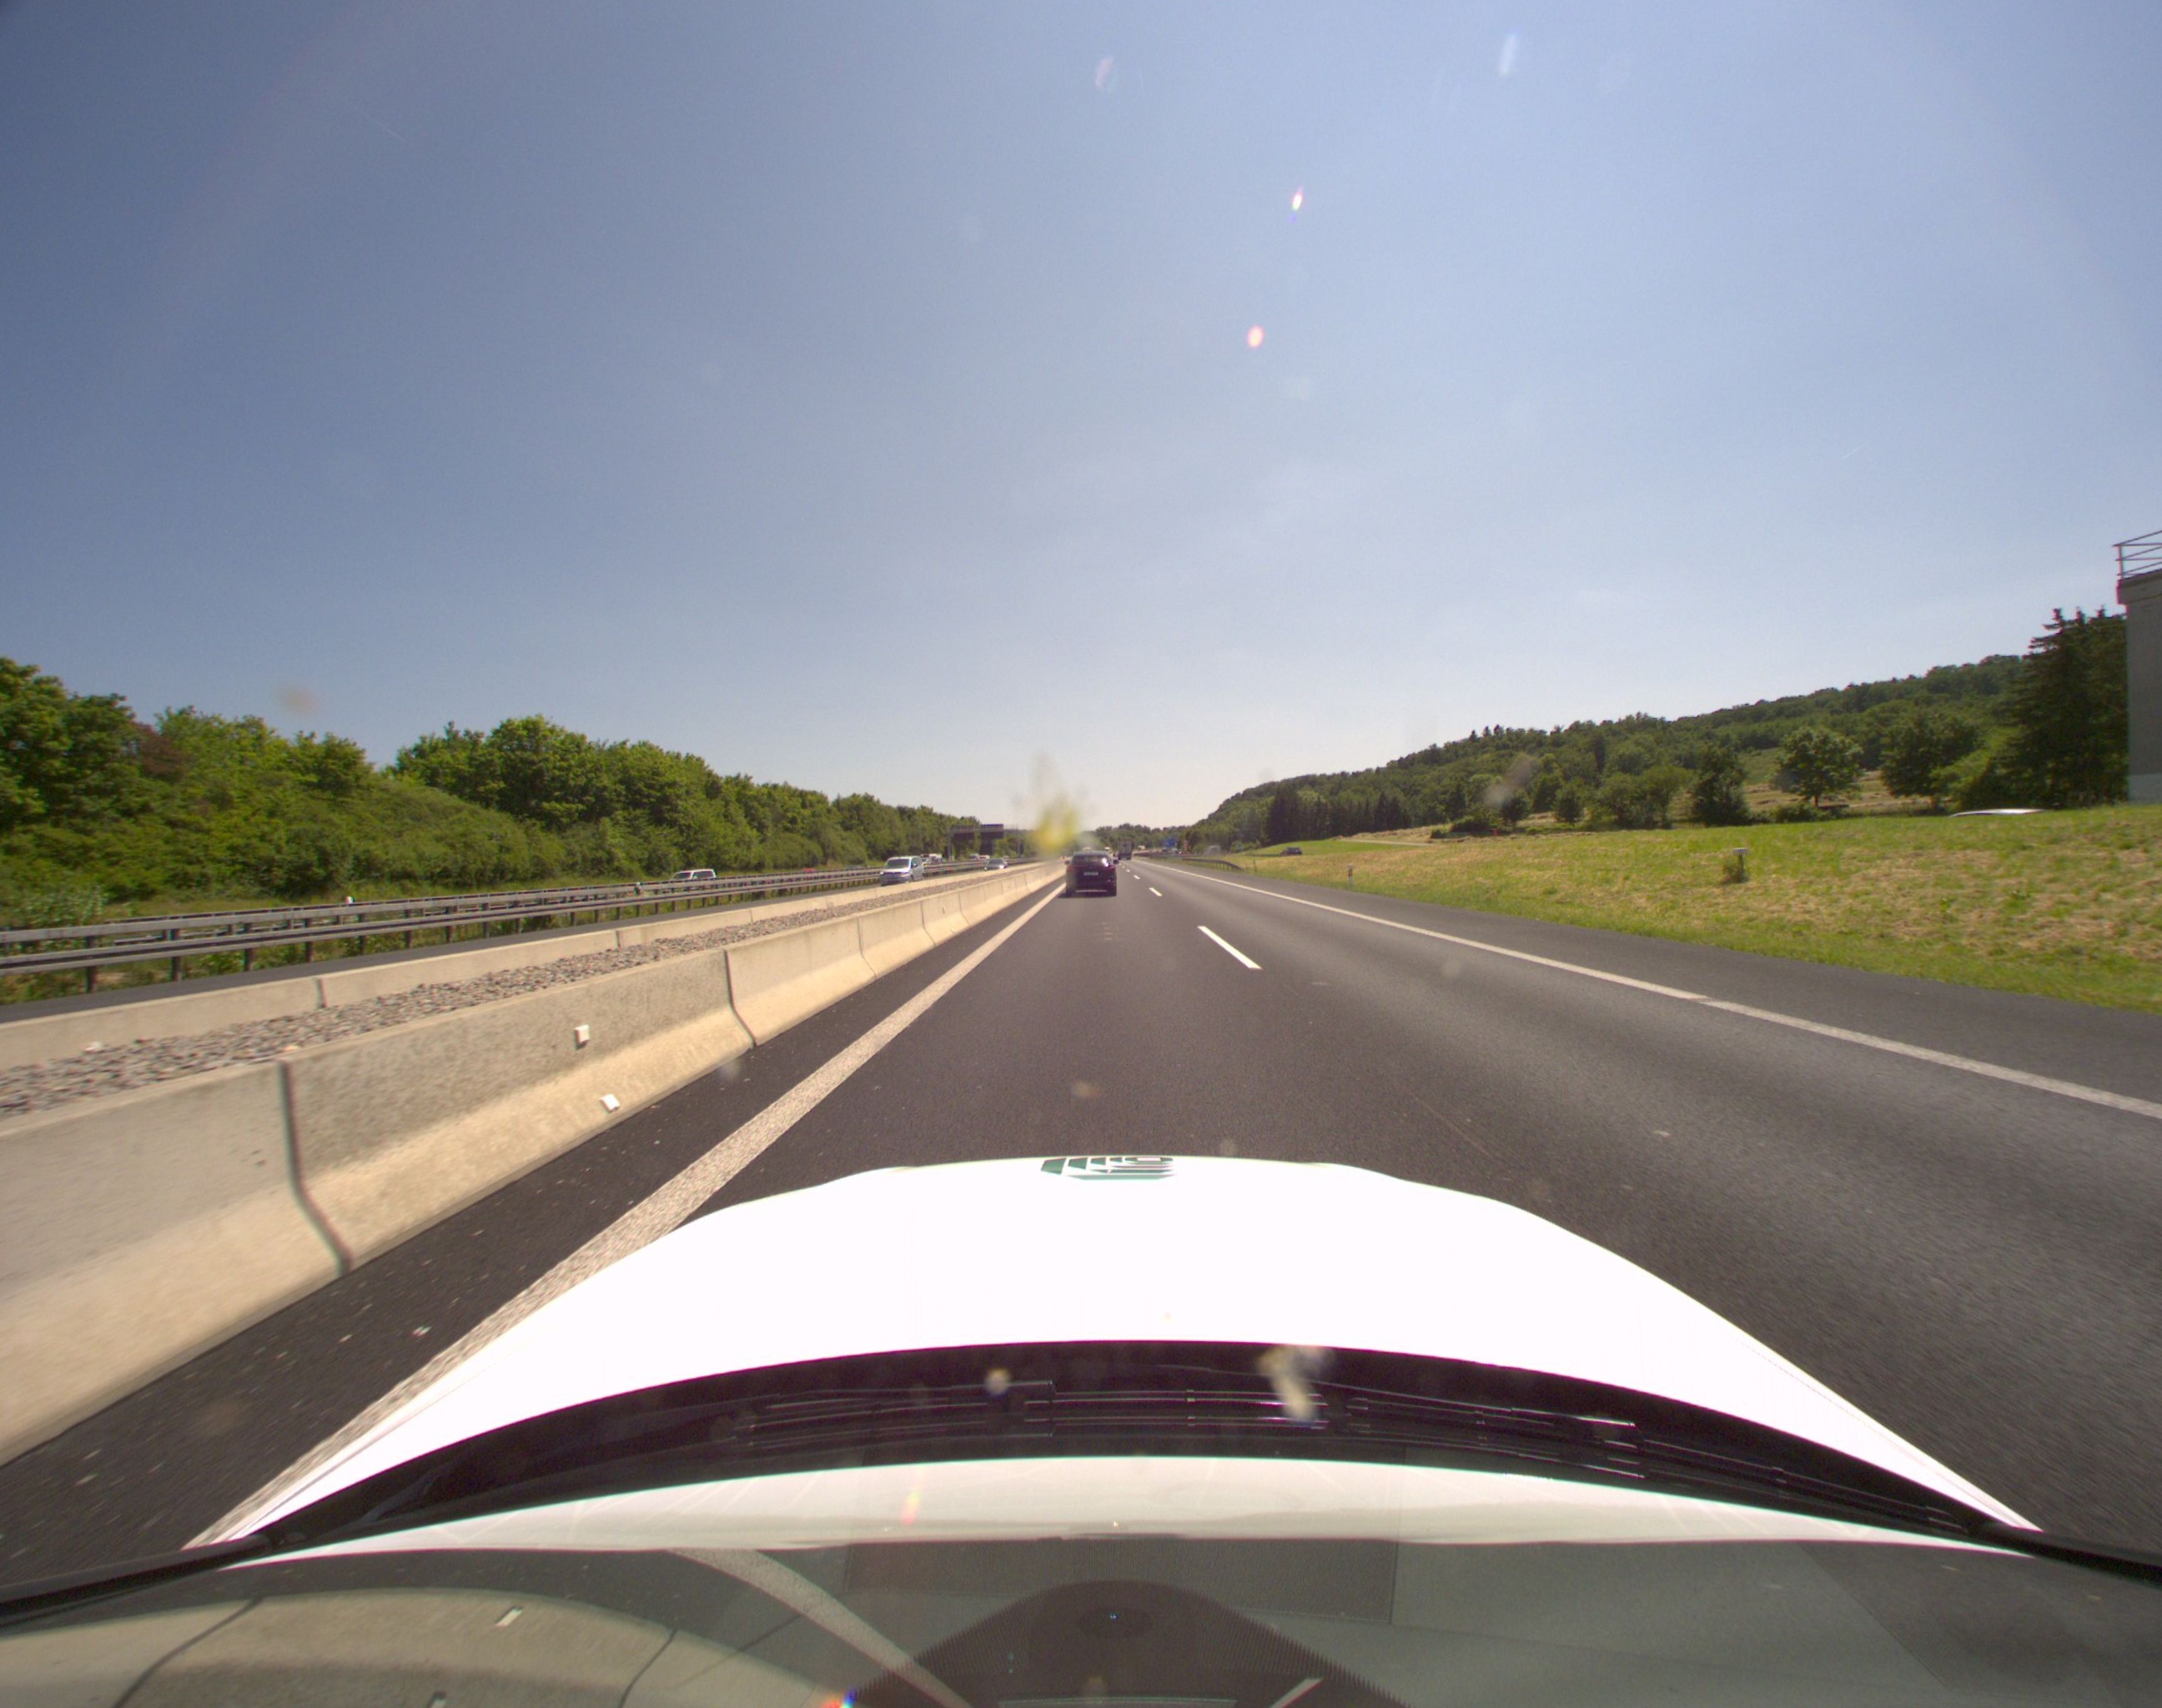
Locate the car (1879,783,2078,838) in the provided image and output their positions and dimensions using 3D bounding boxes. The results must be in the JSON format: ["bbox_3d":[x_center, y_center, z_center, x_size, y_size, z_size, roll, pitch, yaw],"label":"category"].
[{"bbox_3d":[31.875,-1.487,29.153,1.992,1.662,4.456,0,-1,-7],"label":"car"}]

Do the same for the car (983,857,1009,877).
[{"bbox_3d":[-7.384,1.121,71.222,1.788,1.595,4.307,-2,0,0],"label":"car"}]

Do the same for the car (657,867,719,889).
[{"bbox_3d":[-31.314,1.894,65.120,1.982,1.577,5.003,0,-1,8],"label":"car"}]

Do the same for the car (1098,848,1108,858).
[{"bbox_3d":[5.212,-0.176,193.136,2.130,2.216,5.090,0,-1,2],"label":"car"}]

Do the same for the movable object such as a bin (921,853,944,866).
[{"bbox_3d":[-23.885,0.935,131.289,2.498,2.014,6.780,0,0,1],"label":"movable object such as a bin"}]

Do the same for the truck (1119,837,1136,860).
[{"bbox_3d":[9.645,-1.076,168.509,3.019,4.418,12.030,-4,0,4],"label":"truck"}]

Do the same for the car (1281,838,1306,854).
[{"bbox_3d":[29.278,-1.045,112.452,1.990,2.013,3.993,-4,0,-5],"label":"car"}]

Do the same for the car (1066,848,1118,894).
[{"bbox_3d":[0.347,0.604,30.012,1.774,1.577,3.998,0,-1,-1],"label":"car"}]

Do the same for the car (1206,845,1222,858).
[{"bbox_3d":[22.238,-0.382,136.190,1.986,2.013,4.002,-4,0,2],"label":"car"}]

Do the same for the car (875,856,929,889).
[{"bbox_3d":[-11.349,1.123,51.958,1.986,1.842,5.087,-4,0,2],"label":"car"}]
